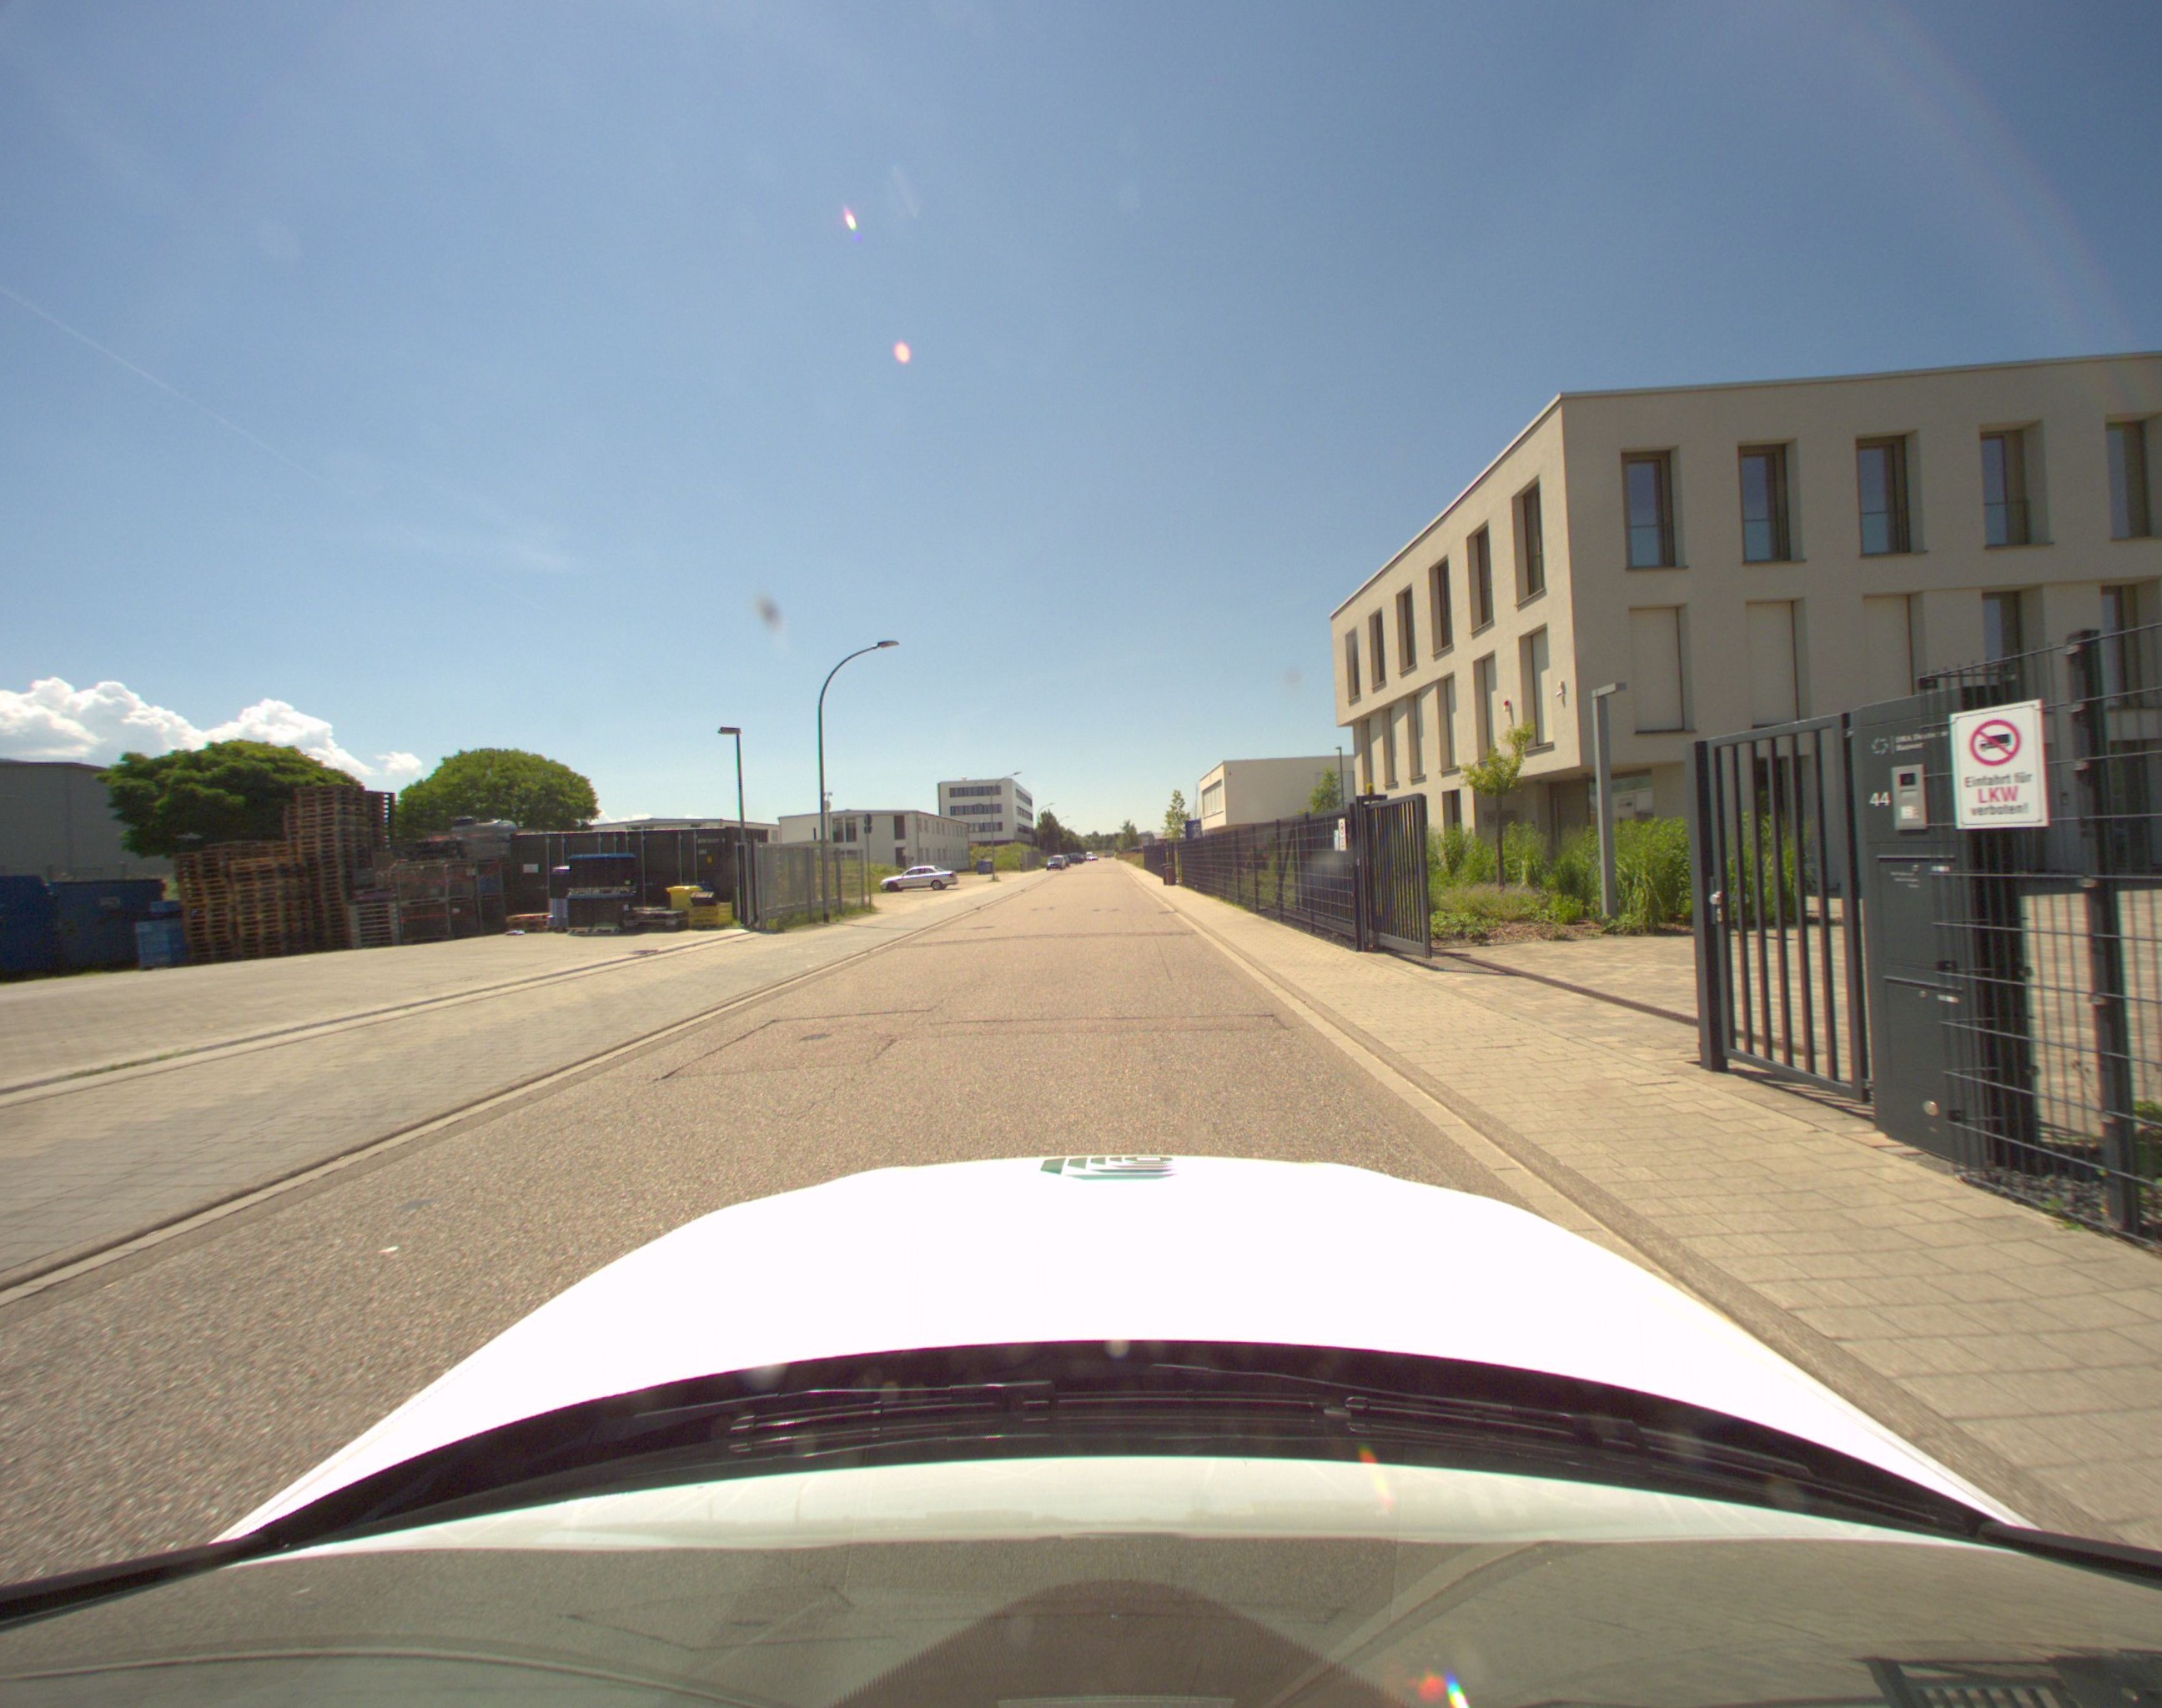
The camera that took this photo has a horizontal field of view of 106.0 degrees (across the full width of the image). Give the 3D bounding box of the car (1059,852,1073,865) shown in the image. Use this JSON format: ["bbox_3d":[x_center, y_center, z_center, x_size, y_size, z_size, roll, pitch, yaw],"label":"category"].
[{"bbox_3d":[-1.910,0.571,104.227,1.461,1.489,3.209,-2,0,2],"label":"car"}]

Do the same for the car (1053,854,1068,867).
[{"bbox_3d":[-2.381,0.772,95.009,1.461,1.489,3.209,-2,0,2],"label":"car"}]

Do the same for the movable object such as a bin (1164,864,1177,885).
[{"bbox_3d":[4.404,0.998,40.097,0.549,0.928,0.523,-7,1,6],"label":"movable object such as a bin"}]

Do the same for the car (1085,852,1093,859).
[{"bbox_3d":[2.004,0.346,210.041,1.797,1.557,4.002,-3,0,2],"label":"car"}]

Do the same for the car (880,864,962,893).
[{"bbox_3d":[-9.168,1.386,46.963,4.262,1.364,1.898,-3,0,1],"label":"car"}]

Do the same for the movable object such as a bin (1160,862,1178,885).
[{"bbox_3d":[4.405,0.980,40.988,0.775,1.019,0.666,-7,1,6],"label":"movable object such as a bin"}]

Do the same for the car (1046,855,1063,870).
[{"bbox_3d":[-2.853,0.924,88.097,1.461,1.489,3.209,-2,0,2],"label":"car"}]

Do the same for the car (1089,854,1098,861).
[{"bbox_3d":[2.617,0.733,171.187,1.797,1.557,4.002,-3,0,2],"label":"car"}]

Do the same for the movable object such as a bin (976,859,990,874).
[{"bbox_3d":[-9.855,1.236,81.969,1.282,1.412,1.805,-2,0,-2],"label":"movable object such as a bin"}]
